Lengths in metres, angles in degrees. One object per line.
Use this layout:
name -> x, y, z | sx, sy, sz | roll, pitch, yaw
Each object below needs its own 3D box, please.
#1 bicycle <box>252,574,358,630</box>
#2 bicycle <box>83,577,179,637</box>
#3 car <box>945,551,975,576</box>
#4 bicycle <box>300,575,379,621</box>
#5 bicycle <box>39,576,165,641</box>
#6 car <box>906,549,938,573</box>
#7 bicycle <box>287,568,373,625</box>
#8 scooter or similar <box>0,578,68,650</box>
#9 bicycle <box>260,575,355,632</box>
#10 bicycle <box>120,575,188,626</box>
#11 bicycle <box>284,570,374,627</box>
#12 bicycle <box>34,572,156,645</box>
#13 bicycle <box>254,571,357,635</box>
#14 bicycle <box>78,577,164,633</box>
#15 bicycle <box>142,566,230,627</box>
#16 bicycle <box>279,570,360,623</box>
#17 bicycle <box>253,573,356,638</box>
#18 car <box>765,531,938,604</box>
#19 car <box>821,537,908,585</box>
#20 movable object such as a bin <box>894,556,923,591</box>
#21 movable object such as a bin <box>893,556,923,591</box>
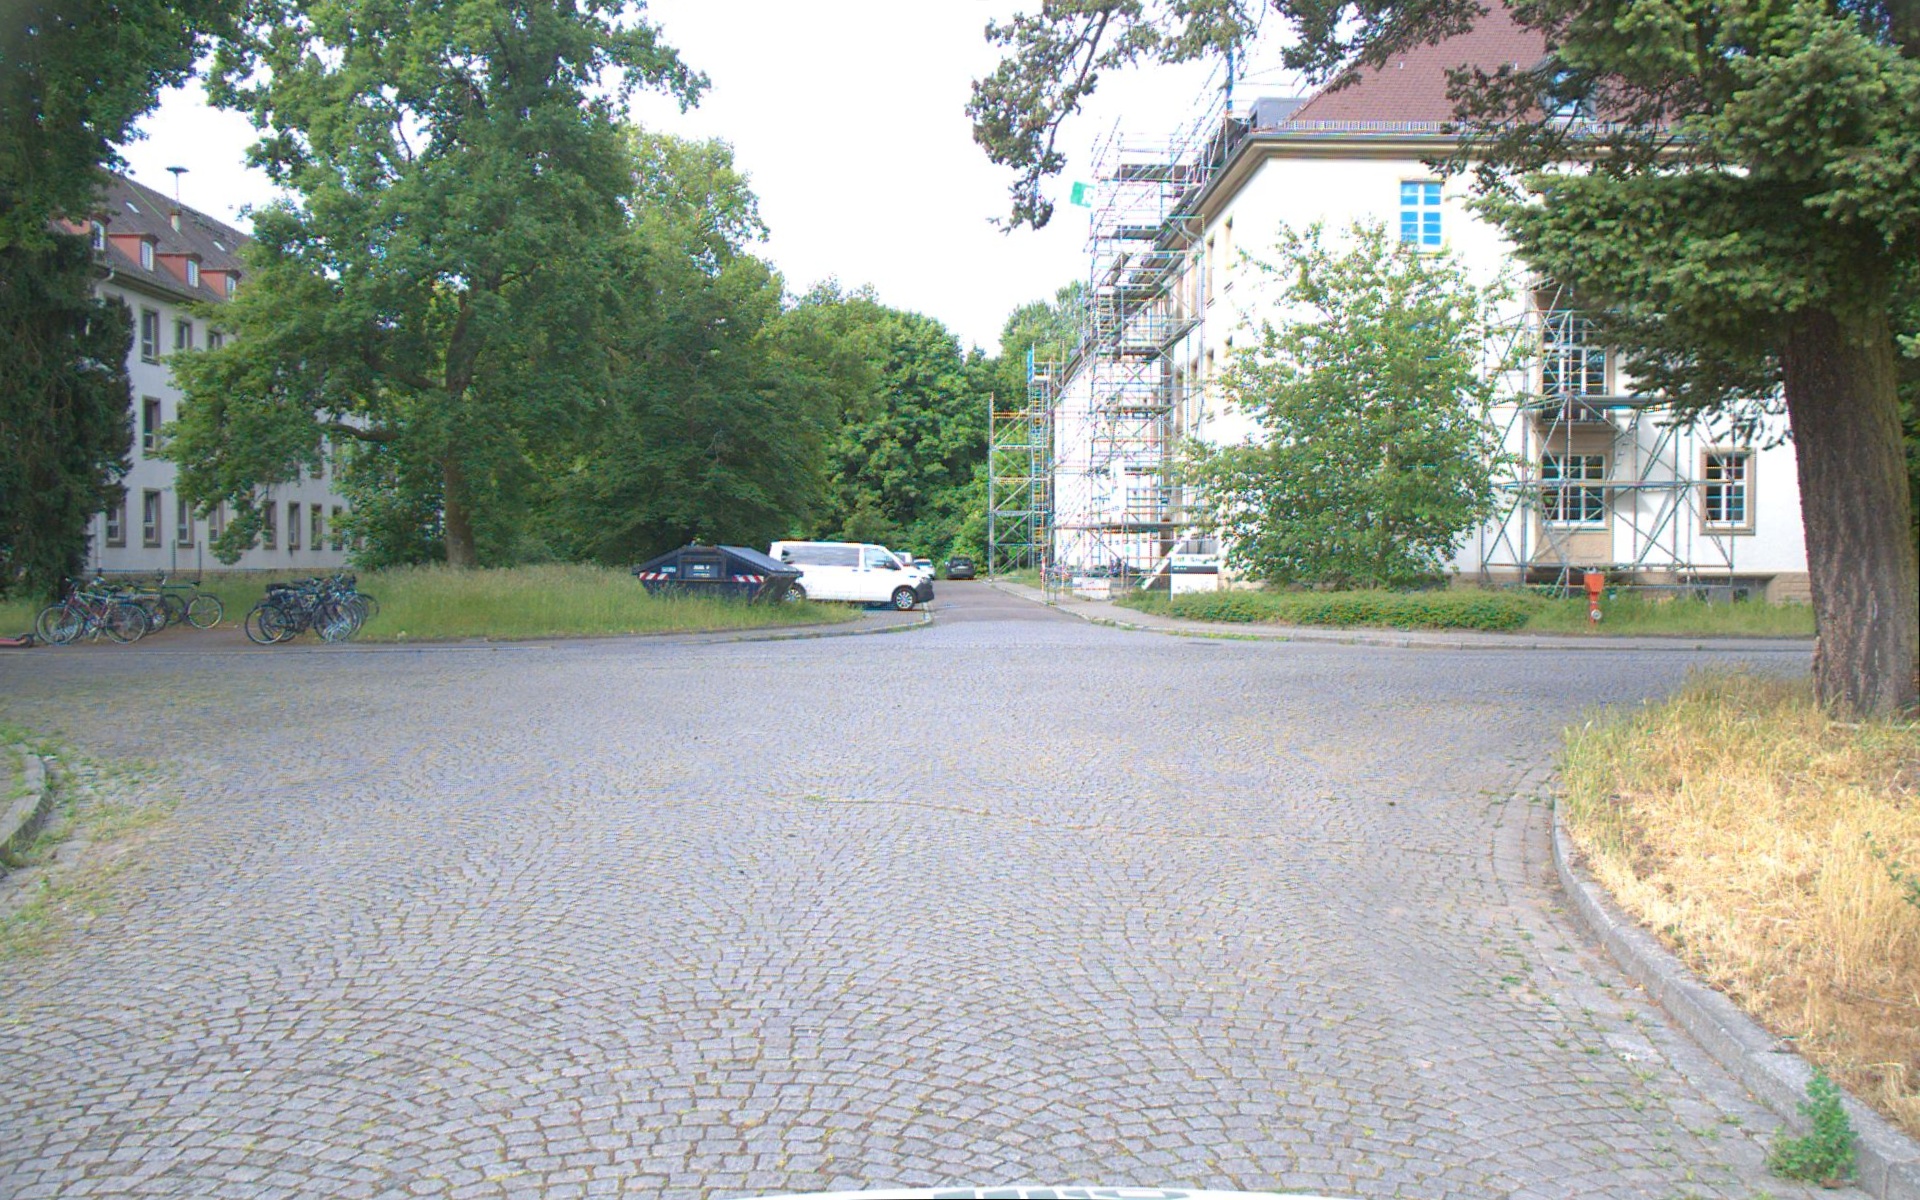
bicycle -> -13.112, 0.028, 33.185 | 1.925, 1.022, 0.682 | -2, 4, -21
bicycle -> -16.014, 0.128, 31.951 | 1.608, 1.092, 0.534 | -1, 4, -32
car -> 0.025, -2.530, 116.622 | 2.021, 1.621, 4.001 | 2, 1, 1
bicycle -> -13.743, -0.058, 36.676 | 1.593, 0.926, 0.524 | -2, 4, -21
bicycle -> -15.708, 0.147, 30.325 | 1.956, 1.133, 0.640 | -1, 3, -21
car -> -2.687, -2.702, 116.322 | 1.962, 1.575, 3.955 | 2, 1, -4
bicycle -> -13.545, -0.086, 35.582 | 1.672, 1.135, 0.538 | -2, 4, -21
scooter or similar -> -16.586, 0.247, 28.983 | 1.515, 1.215, 0.682 | -1, 2, 2
bicycle -> -12.779, 0.060, 32.438 | 1.667, 1.018, 0.628 | -2, 4, -21
bicycle -> -17.354, 0.005, 35.624 | 1.241, 1.047, 0.431 | -2, 0, -21
bicycle -> -13.366, -0.042, 35.081 | 1.745, 1.124, 0.538 | -2, 4, -21
bicycle -> -15.507, 0.140, 29.698 | 1.868, 1.244, 0.640 | 0, 3, -21
bicycle -> -12.553, 0.049, 31.773 | 1.768, 1.122, 0.698 | -2, 4, -21
bicycle -> -16.807, 0.082, 33.145 | 1.496, 1.053, 0.539 | -1, 4, -32
bicycle -> -16.054, -0.076, 34.303 | 1.619, 1.206, 0.569 | -1, 4, -28
bicycle -> -13.947, -0.079, 36.031 | 1.593, 1.077, 0.524 | -2, 4, -21
bicycle -> -12.292, 0.088, 31.089 | 1.742, 1.122, 0.698 | -2, 4, -21
car -> -3.273, -0.982, 50.331 | 5.096, 2.096, 2.187 | 1, 1, -3
car -> -4.509, -1.831, 77.814 | 3.910, 2.048, 1.919 | 2, 0, -6
movable object such as a bin -> -2.172, -1.118, 70.082 | 1.160, 1.431, 0.975 | 2, 0, -1
movable object such as a bin -> -2.172, -1.100, 68.872 | 1.160, 1.431, 0.975 | 2, 0, -1
